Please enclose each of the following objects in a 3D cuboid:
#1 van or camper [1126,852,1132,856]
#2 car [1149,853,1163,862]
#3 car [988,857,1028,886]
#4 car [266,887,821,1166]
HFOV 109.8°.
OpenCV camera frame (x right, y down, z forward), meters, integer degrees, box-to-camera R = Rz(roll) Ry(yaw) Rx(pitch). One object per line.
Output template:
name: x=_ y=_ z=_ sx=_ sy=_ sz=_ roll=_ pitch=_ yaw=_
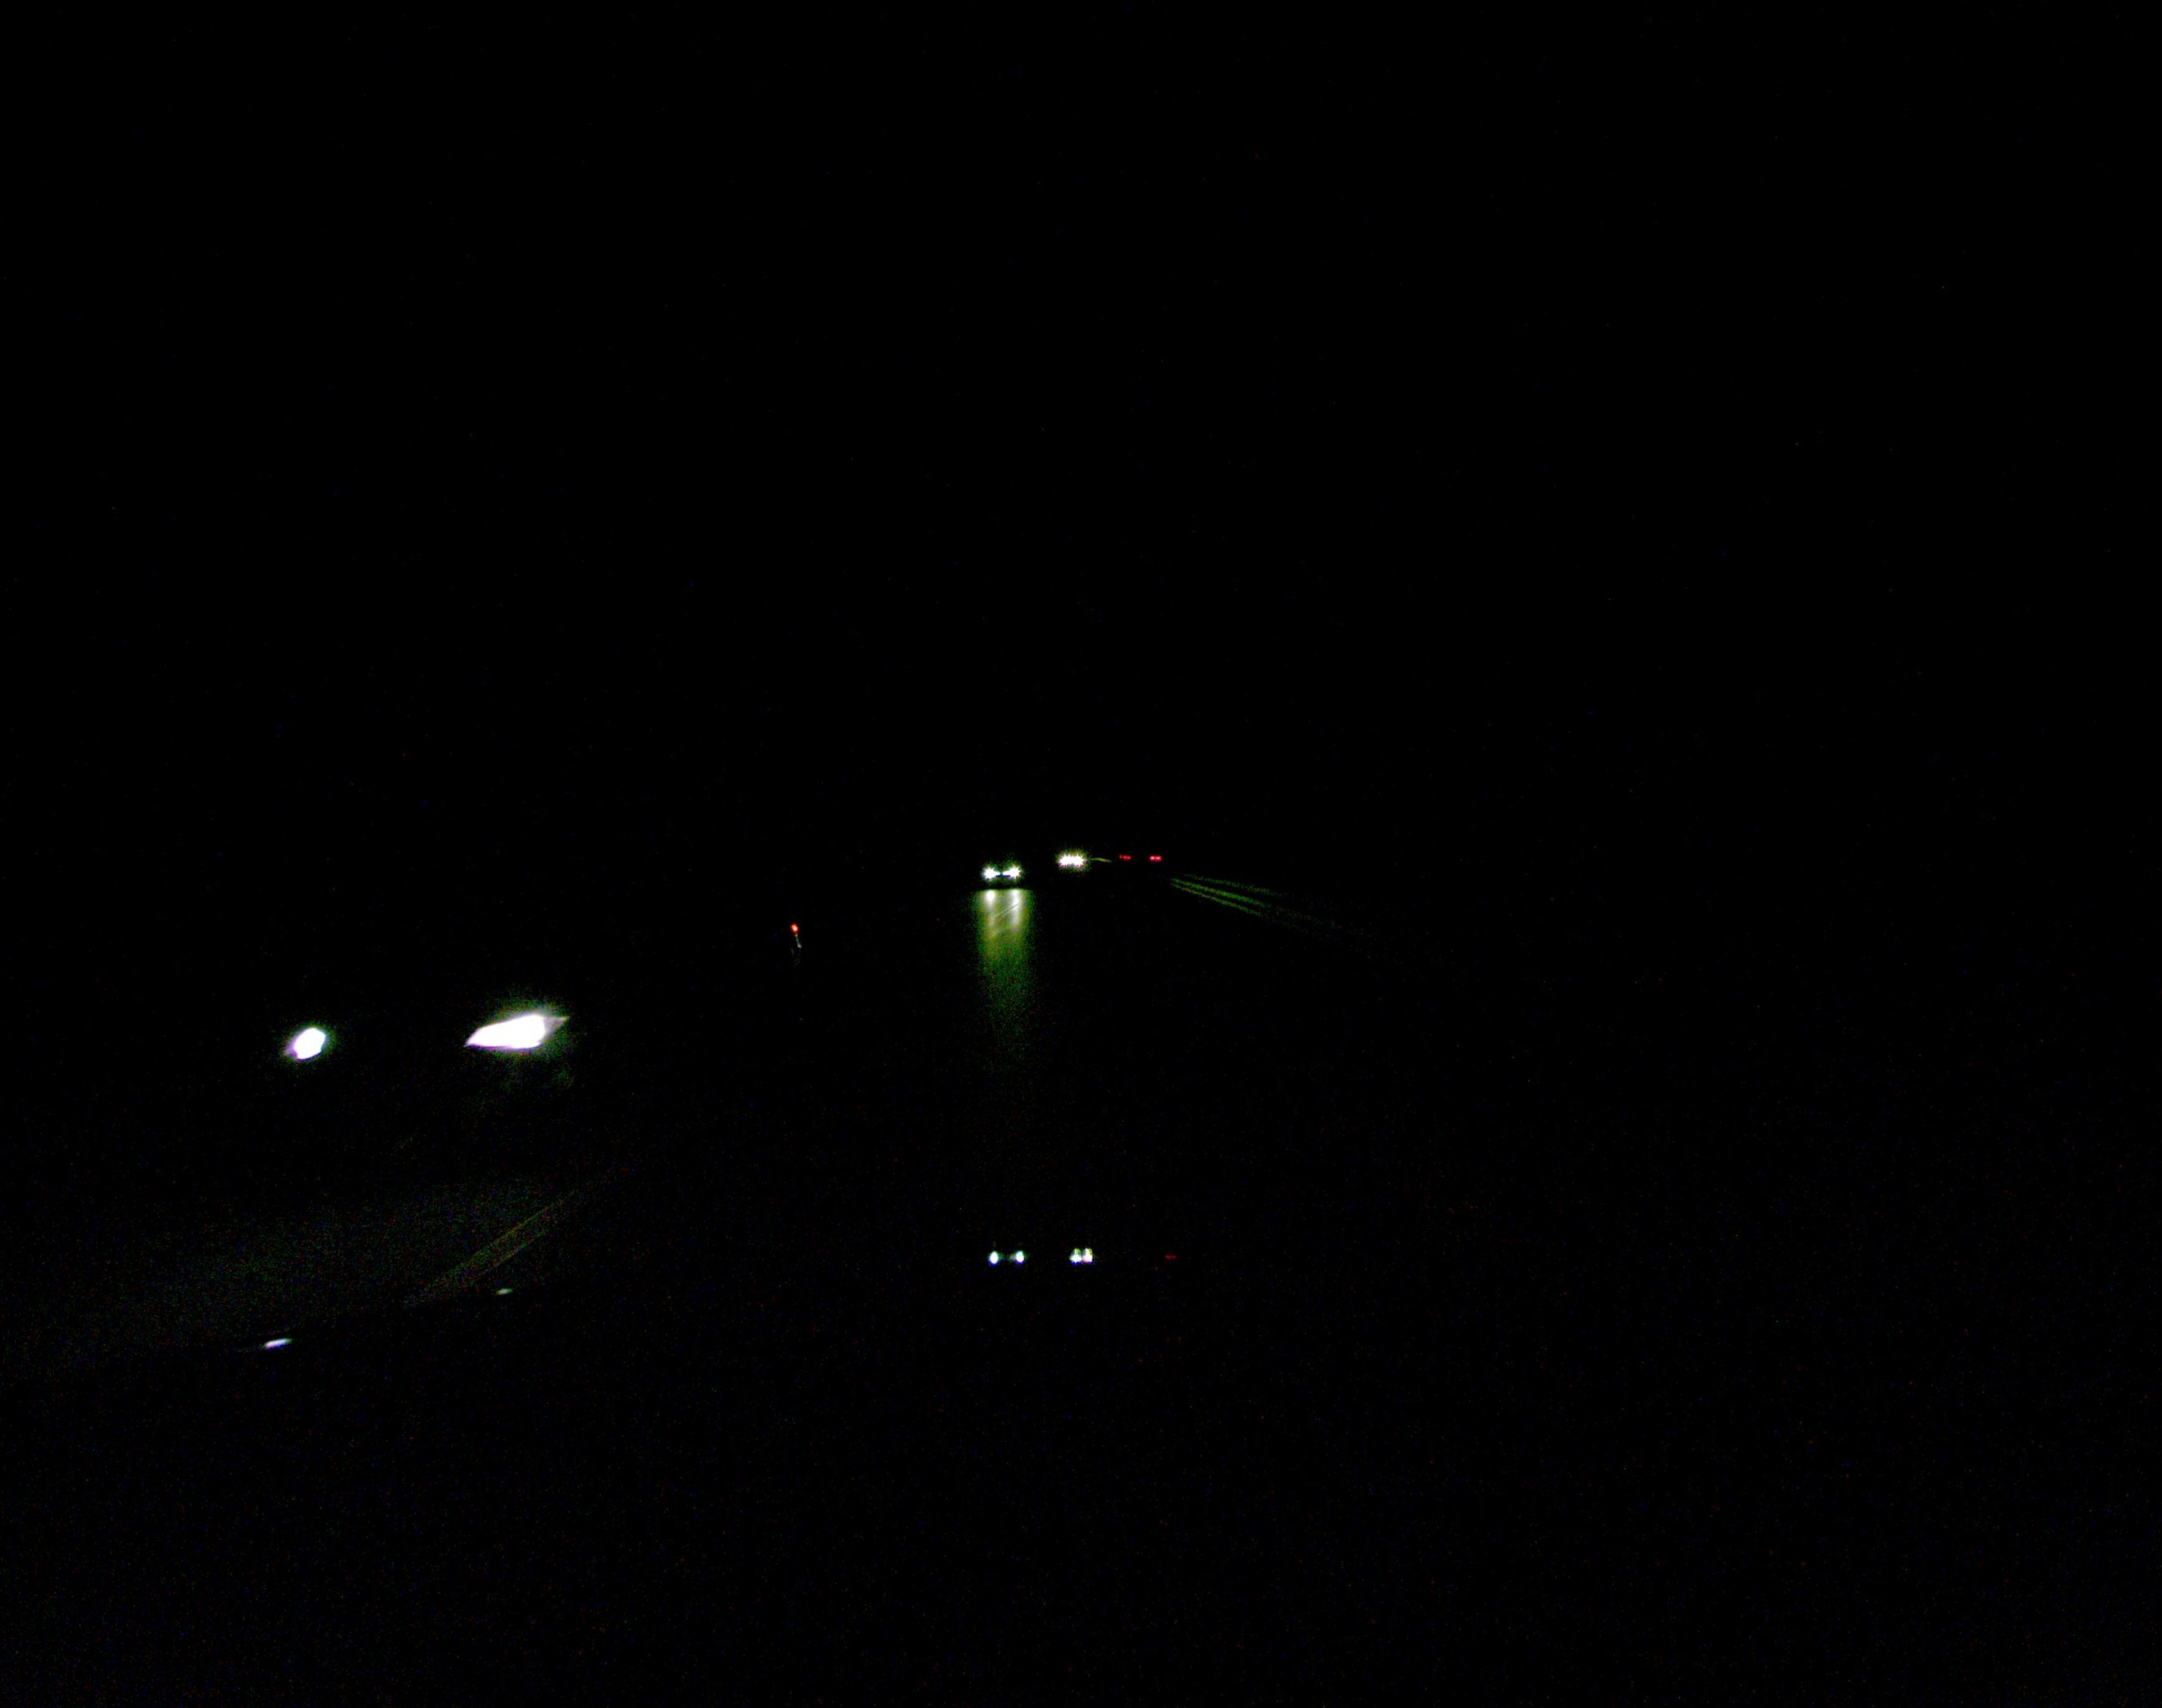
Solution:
van or camper: x=15.987 y=0.020 z=252.172 sx=1.784 sy=1.433 sz=5.101 roll=1 pitch=1 yaw=0
car: x=14.888 y=0.655 z=151.149 sx=1.999 sy=1.628 sz=5.073 roll=-2 pitch=0 yaw=-1
car: x=-4.102 y=0.957 z=43.344 sx=1.795 sy=1.532 sz=4.225 roll=-2 pitch=0 yaw=1
car: x=-3.843 y=1.096 z=6.526 sx=1.690 sy=1.405 sz=4.225 roll=-1 pitch=0 yaw=1
